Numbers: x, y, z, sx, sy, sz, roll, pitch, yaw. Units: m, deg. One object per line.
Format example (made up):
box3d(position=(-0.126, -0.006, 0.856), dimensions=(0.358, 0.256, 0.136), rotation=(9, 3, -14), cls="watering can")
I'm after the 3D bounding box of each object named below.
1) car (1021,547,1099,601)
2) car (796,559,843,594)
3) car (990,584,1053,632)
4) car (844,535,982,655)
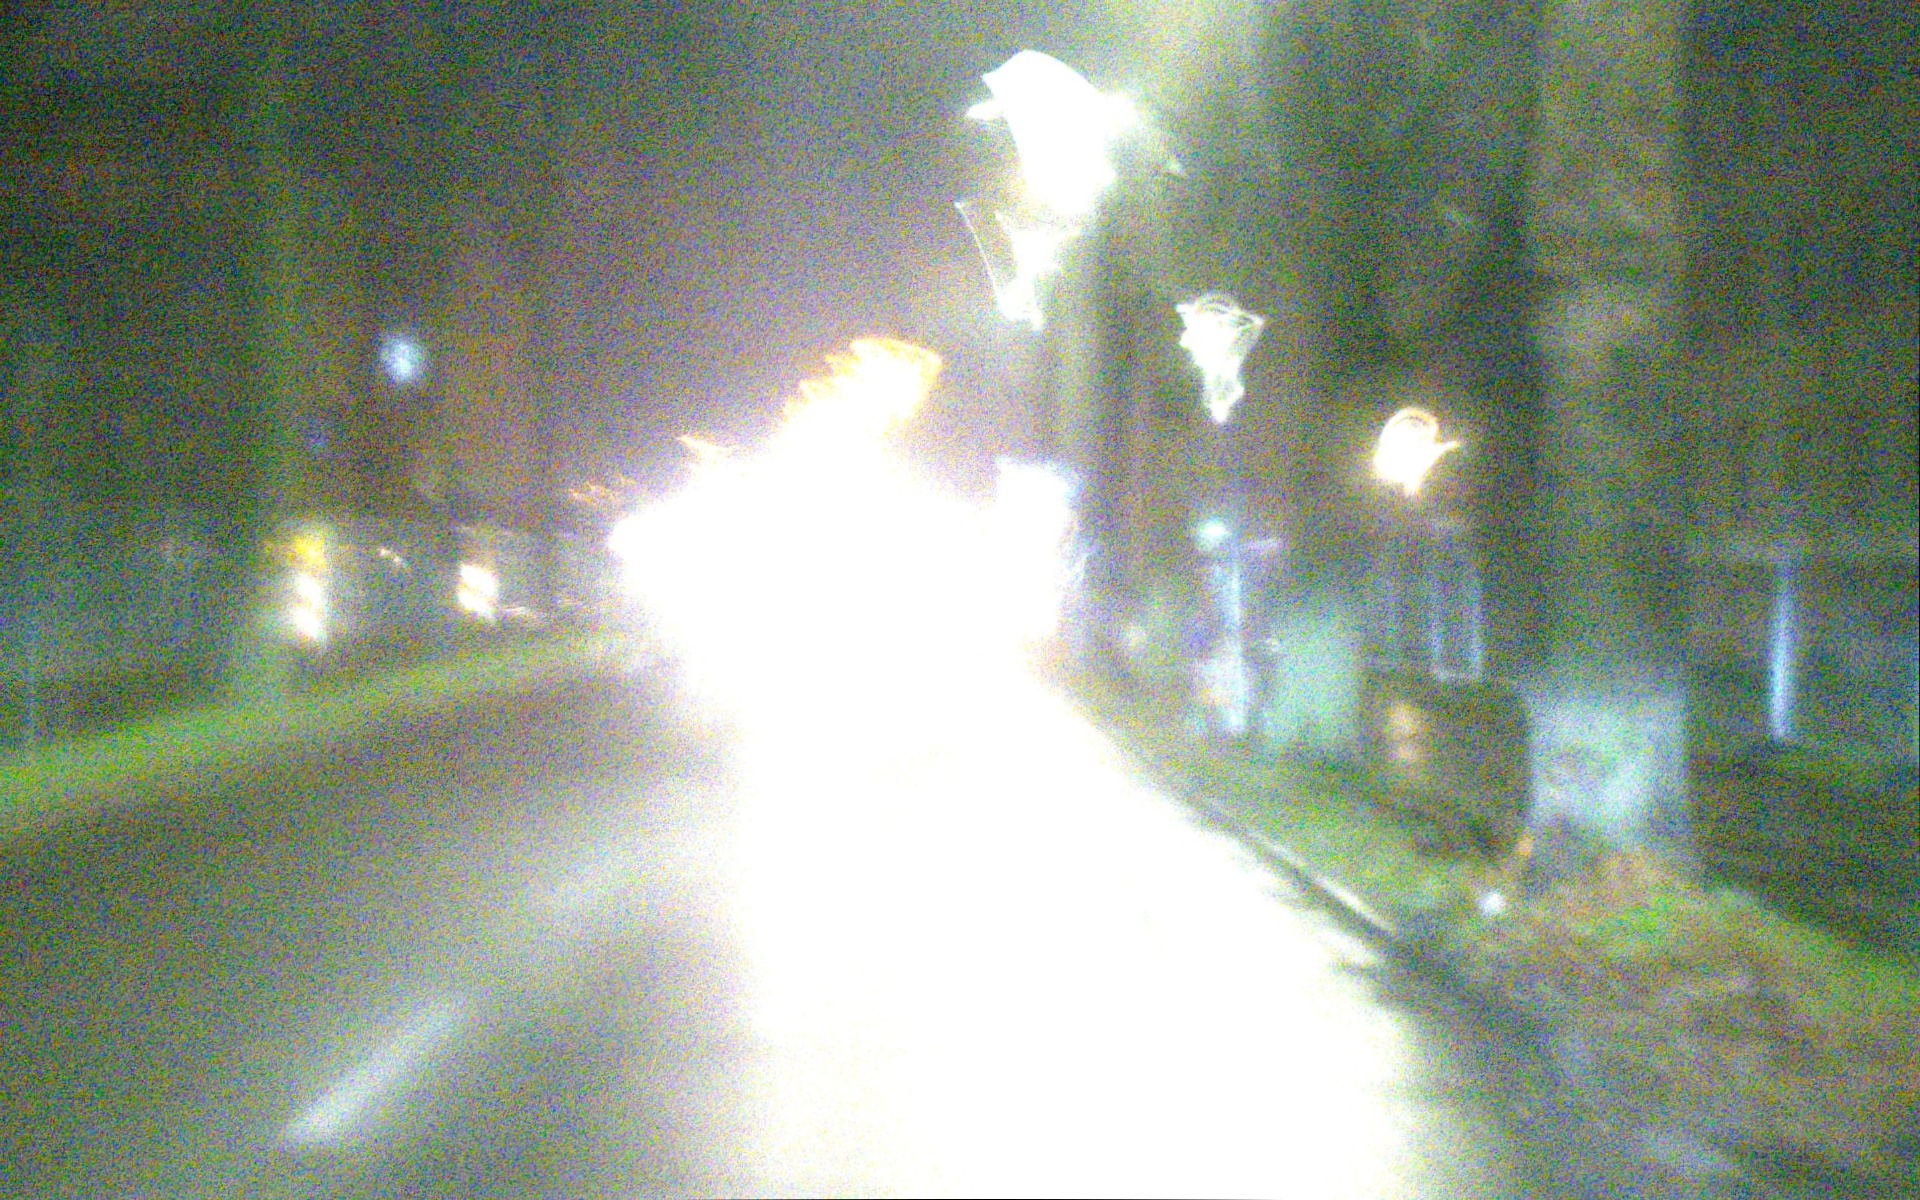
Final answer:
box3d(position=(2.921, -0.787, 101.225), dimensions=(1.789, 1.444, 4.791), rotation=(-2, 1, -4), cls="car")
box3d(position=(-5.886, -1.001, 144.516), dimensions=(1.745, 1.428, 4.000), rotation=(-1, 0, 0), cls="car")
box3d(position=(1.984, 0.236, 112.386), dimensions=(1.713, 1.483, 4.437), rotation=(0, 1, -4), cls="car")
box3d(position=(-0.757, -0.112, 52.531), dimensions=(1.993, 1.678, 4.001), rotation=(1, 2, -2), cls="car")
